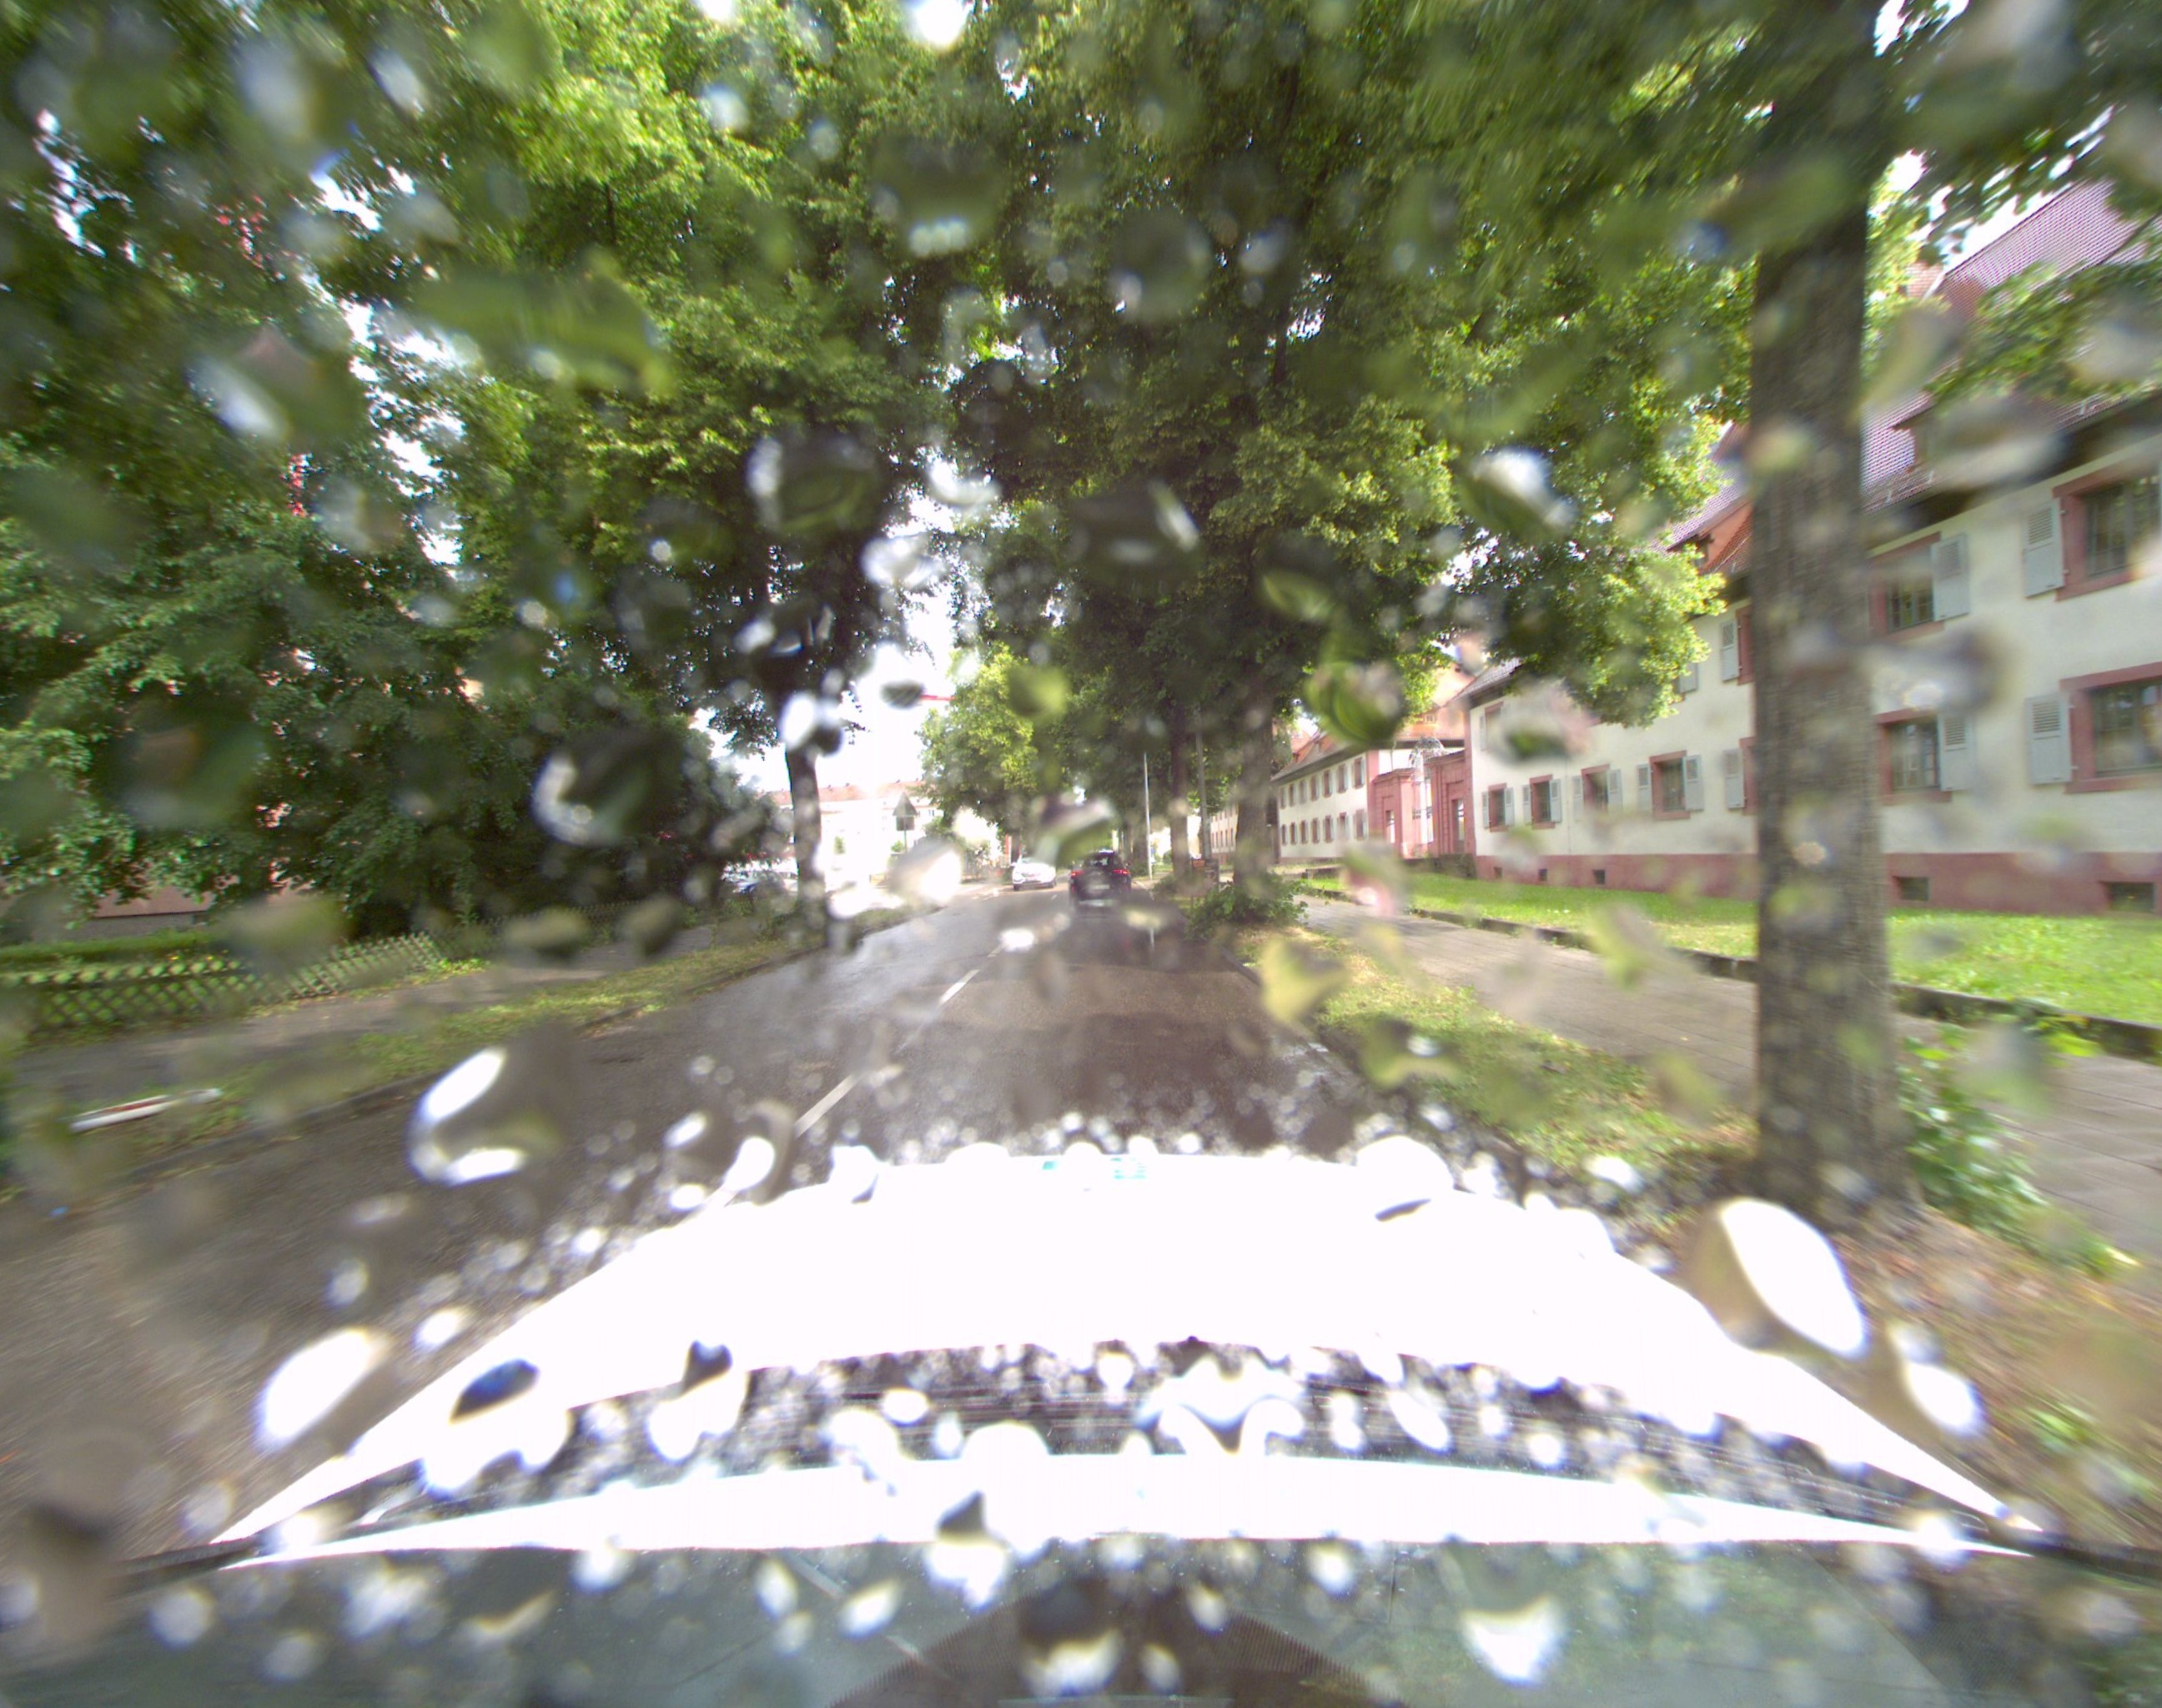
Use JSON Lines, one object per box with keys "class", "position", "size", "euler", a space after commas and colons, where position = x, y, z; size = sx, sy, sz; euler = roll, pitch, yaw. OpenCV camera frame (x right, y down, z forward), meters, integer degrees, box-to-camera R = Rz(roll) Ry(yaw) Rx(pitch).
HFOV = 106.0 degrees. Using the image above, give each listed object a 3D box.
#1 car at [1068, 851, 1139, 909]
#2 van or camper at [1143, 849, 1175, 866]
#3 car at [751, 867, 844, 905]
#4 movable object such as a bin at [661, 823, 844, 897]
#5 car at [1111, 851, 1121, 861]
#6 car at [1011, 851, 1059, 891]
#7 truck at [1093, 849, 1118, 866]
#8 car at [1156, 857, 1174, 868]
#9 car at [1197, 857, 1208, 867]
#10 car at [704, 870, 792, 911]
{"class": "car", "position": [0.616, 0.719, 24.178], "size": [1.889, 1.522, 3.999], "euler": [-2, -1, 0]}
{"class": "van or camper", "position": [12.960, 0.635, 135.078], "size": [5.016, 2.596, 2.168], "euler": [-3, -1, 0]}
{"class": "car", "position": [-13.092, 1.490, 37.675], "size": [3.580, 1.533, 1.744], "euler": [-3, 0, 12]}
{"class": "movable object such as a bin", "position": [-19.975, 0.365, 49.922], "size": [9.770, 4.115, 3.369], "euler": [-2, 0, 3]}
{"class": "car", "position": [7.709, 0.438, 180.946], "size": [1.984, 2.014, 4.004], "euler": [-3, -3, 5]}
{"class": "car", "position": [-2.183, 0.786, 39.553], "size": [1.879, 1.713, 4.231], "euler": [-3, 0, 2]}
{"class": "truck", "position": [3.930, 0.502, 131.779], "size": [2.802, 2.656, 8.221], "euler": [-2, 0, -7]}
{"class": "car", "position": [16.911, 1.740, 164.133], "size": [3.386, 1.781, 1.765], "euler": [-5, -1, 10]}
{"class": "car", "position": [22.137, 1.464, 148.219], "size": [1.733, 1.684, 3.878], "euler": [-5, -1, 8]}
{"class": "car", "position": [-12.515, 1.372, 30.880], "size": [1.617, 1.420, 3.872], "euler": [-1, -2, 2]}
